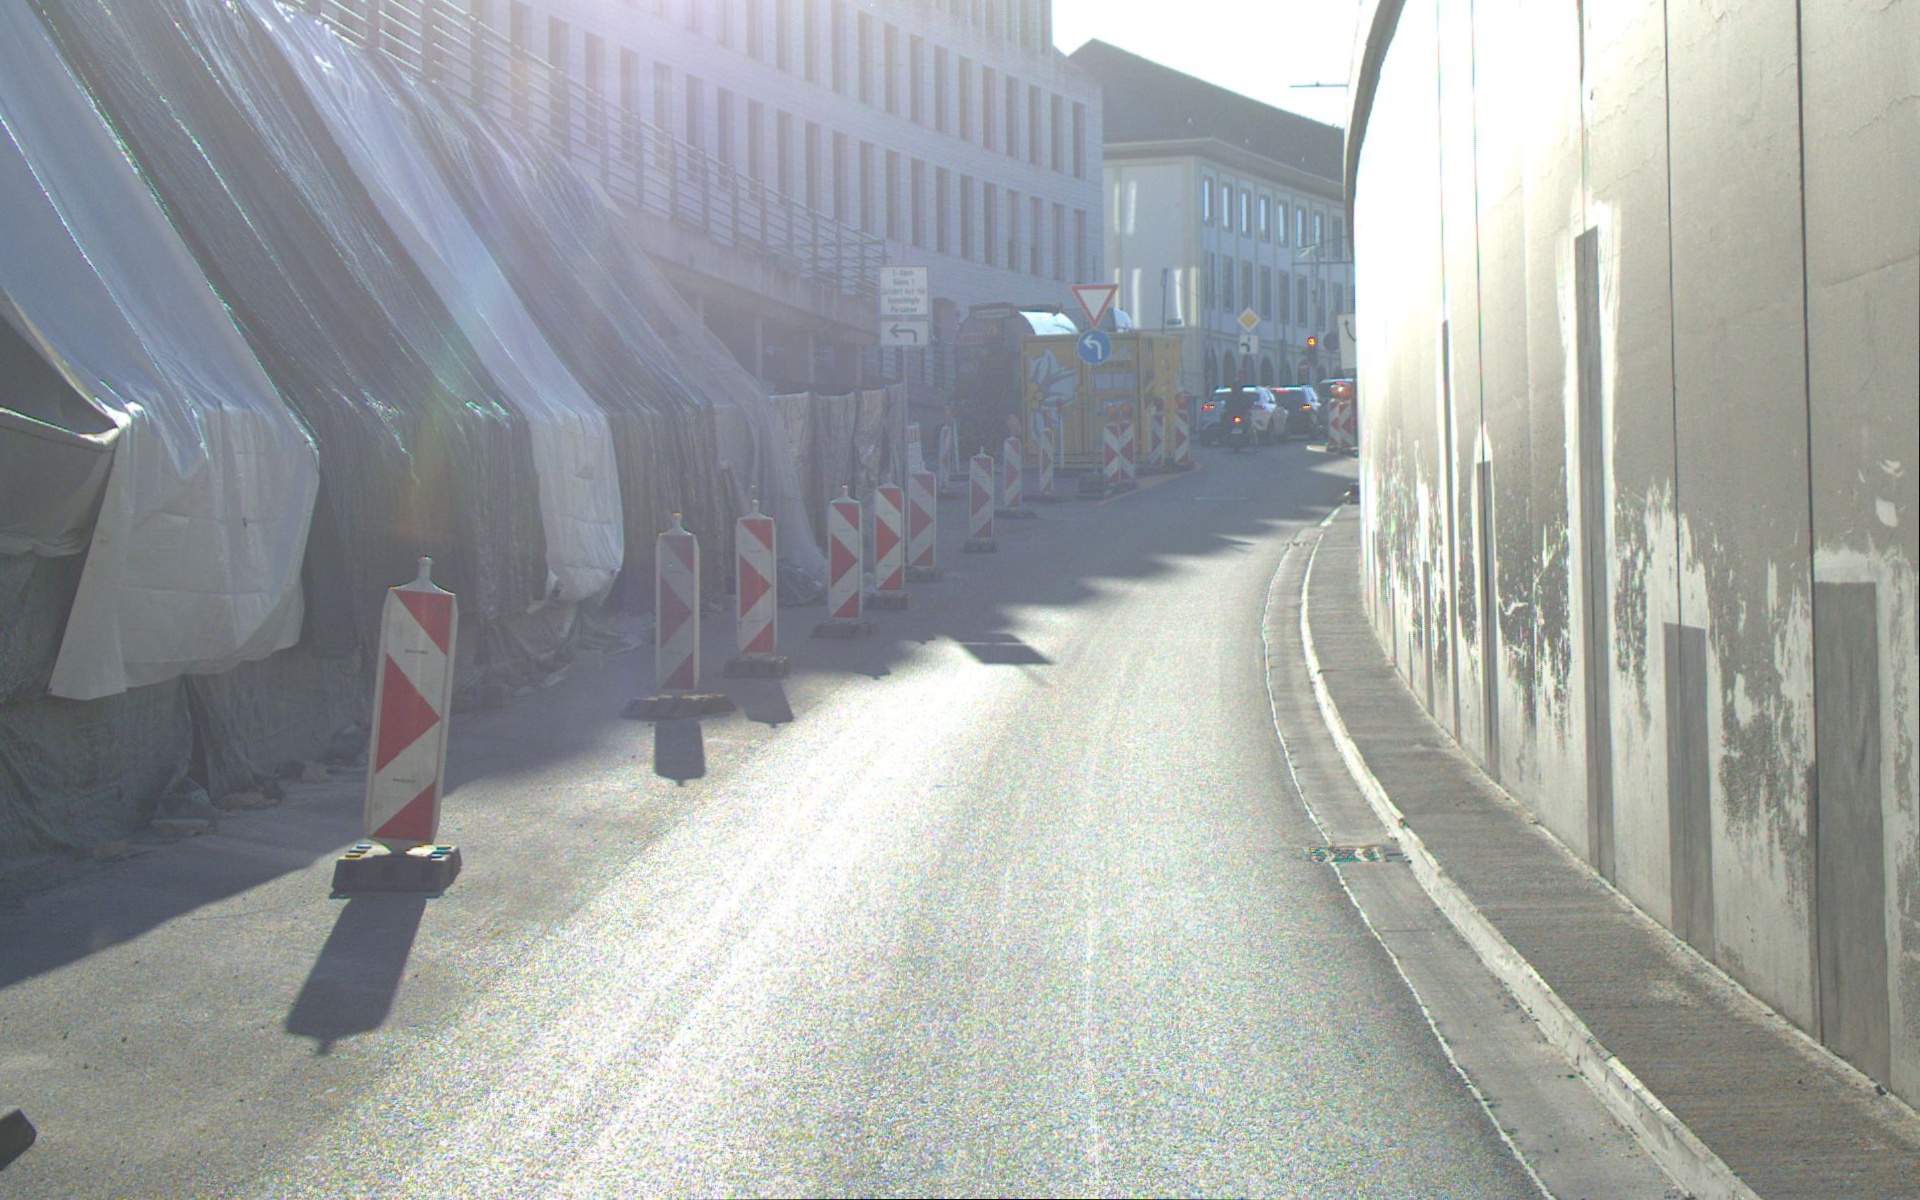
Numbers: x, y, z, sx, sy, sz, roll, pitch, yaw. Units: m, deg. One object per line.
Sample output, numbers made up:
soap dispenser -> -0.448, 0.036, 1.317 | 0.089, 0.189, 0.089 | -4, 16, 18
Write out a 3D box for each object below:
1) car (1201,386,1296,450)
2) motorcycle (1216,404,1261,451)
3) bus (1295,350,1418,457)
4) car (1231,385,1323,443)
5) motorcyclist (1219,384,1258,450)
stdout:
car -> 7.373, -4.630, 87.594 | 1.777, 1.598, 3.998 | 1, 3, 14
motorcycle -> 6.575, -4.050, 80.961 | 0.771, 0.989, 2.182 | 0, 0, 12
bus -> 9.753, -4.832, 84.296 | 2.226, 2.548, 4.424 | 1, 4, 17
car -> 8.677, -5.077, 93.815 | 1.822, 1.528, 3.998 | 1, 3, 15
motorcyclist -> 6.555, -4.303, 80.871 | 0.804, 1.499, 0.776 | 0, 0, 12
